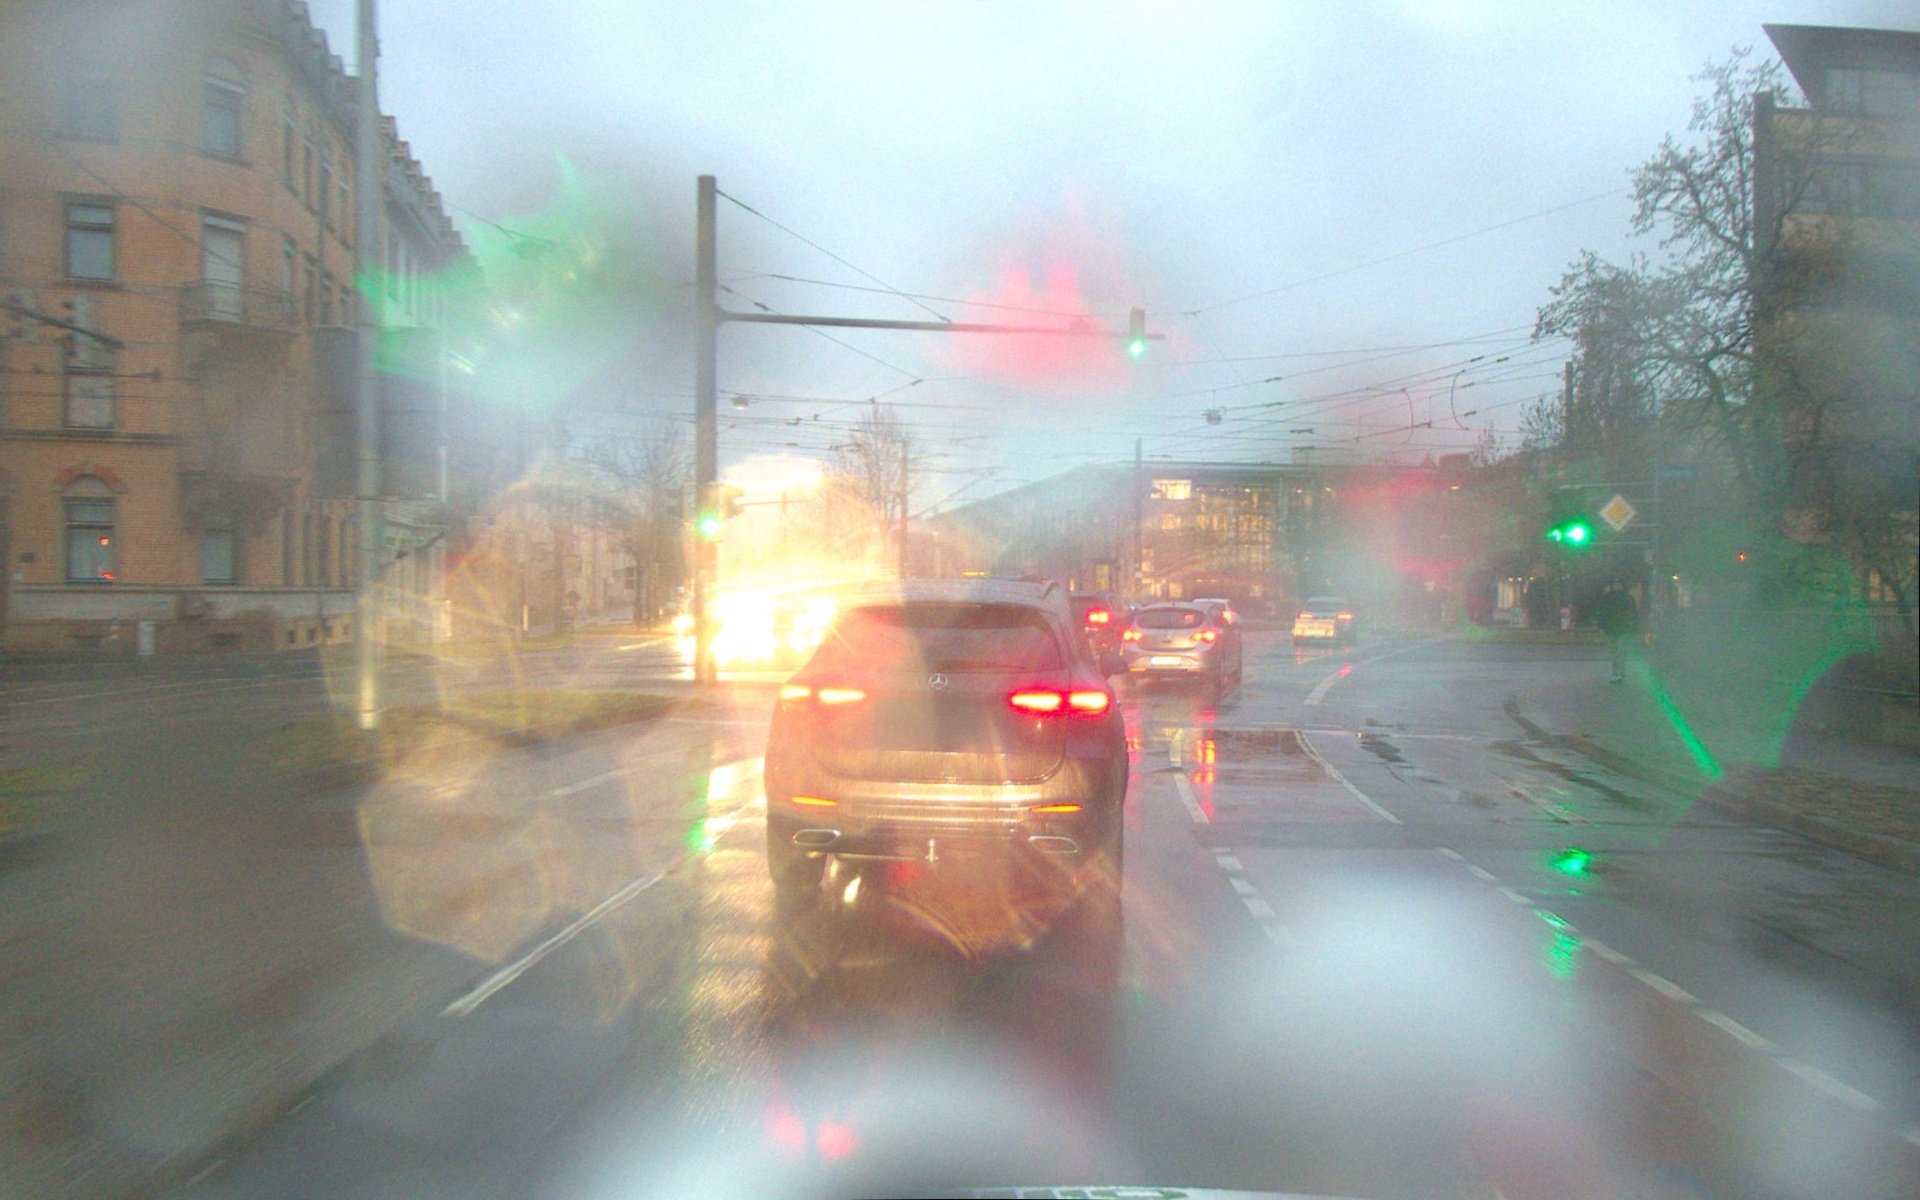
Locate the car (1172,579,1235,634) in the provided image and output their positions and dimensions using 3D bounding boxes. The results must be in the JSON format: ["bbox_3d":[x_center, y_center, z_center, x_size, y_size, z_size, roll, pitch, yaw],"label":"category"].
[{"bbox_3d":[8.341,0.204,56.392,1.951,1.796,4.004,0,0,11],"label":"car"}]

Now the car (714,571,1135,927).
[{"bbox_3d":[-0.165,0.679,9.690,1.950,1.644,4.000,0,0,0],"label":"car"}]

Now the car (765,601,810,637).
[{"bbox_3d":[-7.207,0.774,69.322,1.646,1.483,4.060,0,0,-3],"label":"car"}]

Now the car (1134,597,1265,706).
[{"bbox_3d":[4.338,0.848,29.529,1.951,1.796,4.003,0,0,13],"label":"car"}]

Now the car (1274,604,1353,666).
[{"bbox_3d":[10.929,1.032,50.921,1.952,1.796,4.002,0,0,18],"label":"car"}]

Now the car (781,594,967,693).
[{"bbox_3d":[-1.256,0.622,26.051,1.951,1.422,4.004,0,0,12],"label":"car"}]

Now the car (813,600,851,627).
[{"bbox_3d":[-6.464,0.670,83.377,1.508,1.267,4.077,0,0,-10],"label":"car"}]

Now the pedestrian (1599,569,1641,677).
[{"bbox_3d":[11.772,0.404,29.508,0.560,1.870,0.683,3,2,17],"label":"pedestrian"}]
